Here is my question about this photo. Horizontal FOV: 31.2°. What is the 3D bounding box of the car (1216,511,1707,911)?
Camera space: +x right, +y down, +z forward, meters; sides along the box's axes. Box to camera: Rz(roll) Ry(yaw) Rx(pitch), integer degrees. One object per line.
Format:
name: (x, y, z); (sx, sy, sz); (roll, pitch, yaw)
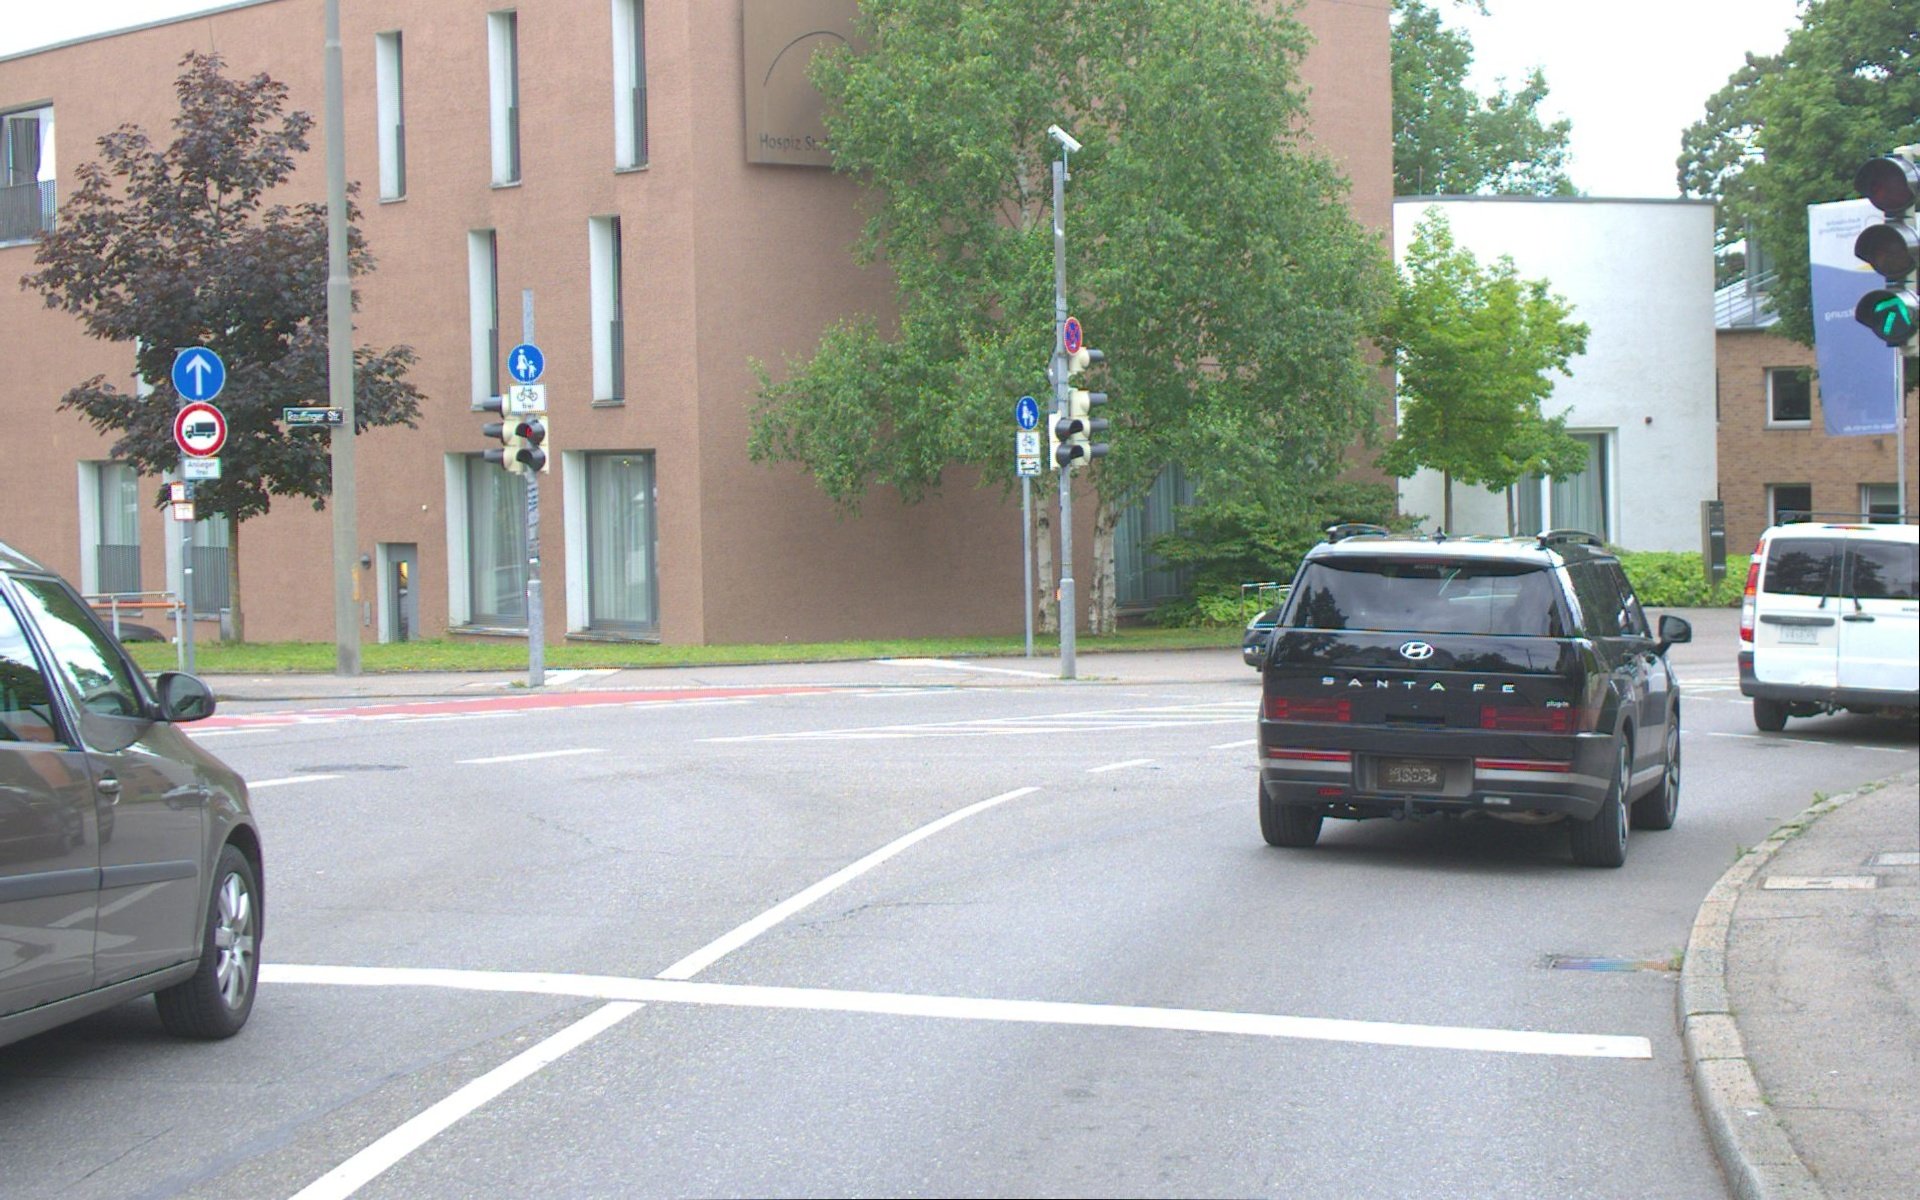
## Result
car: (2.884, 0.511, 18.985); (1.995, 1.875, 3.997); (3, 1, 17)

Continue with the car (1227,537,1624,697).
car: (5.287, 0.144, 38.628); (1.998, 1.652, 4.773); (0, 1, 43)

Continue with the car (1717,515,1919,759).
car: (8.552, 0.268, 31.383); (1.965, 2.006, 4.421); (3, 2, 29)

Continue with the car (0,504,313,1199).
car: (-3.140, 0.627, 9.052); (1.893, 1.700, 4.000); (-1, 1, 3)

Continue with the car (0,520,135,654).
car: (-15.024, -0.194, 53.011); (3.988, 2.007, 2.000); (-2, 1, -35)
